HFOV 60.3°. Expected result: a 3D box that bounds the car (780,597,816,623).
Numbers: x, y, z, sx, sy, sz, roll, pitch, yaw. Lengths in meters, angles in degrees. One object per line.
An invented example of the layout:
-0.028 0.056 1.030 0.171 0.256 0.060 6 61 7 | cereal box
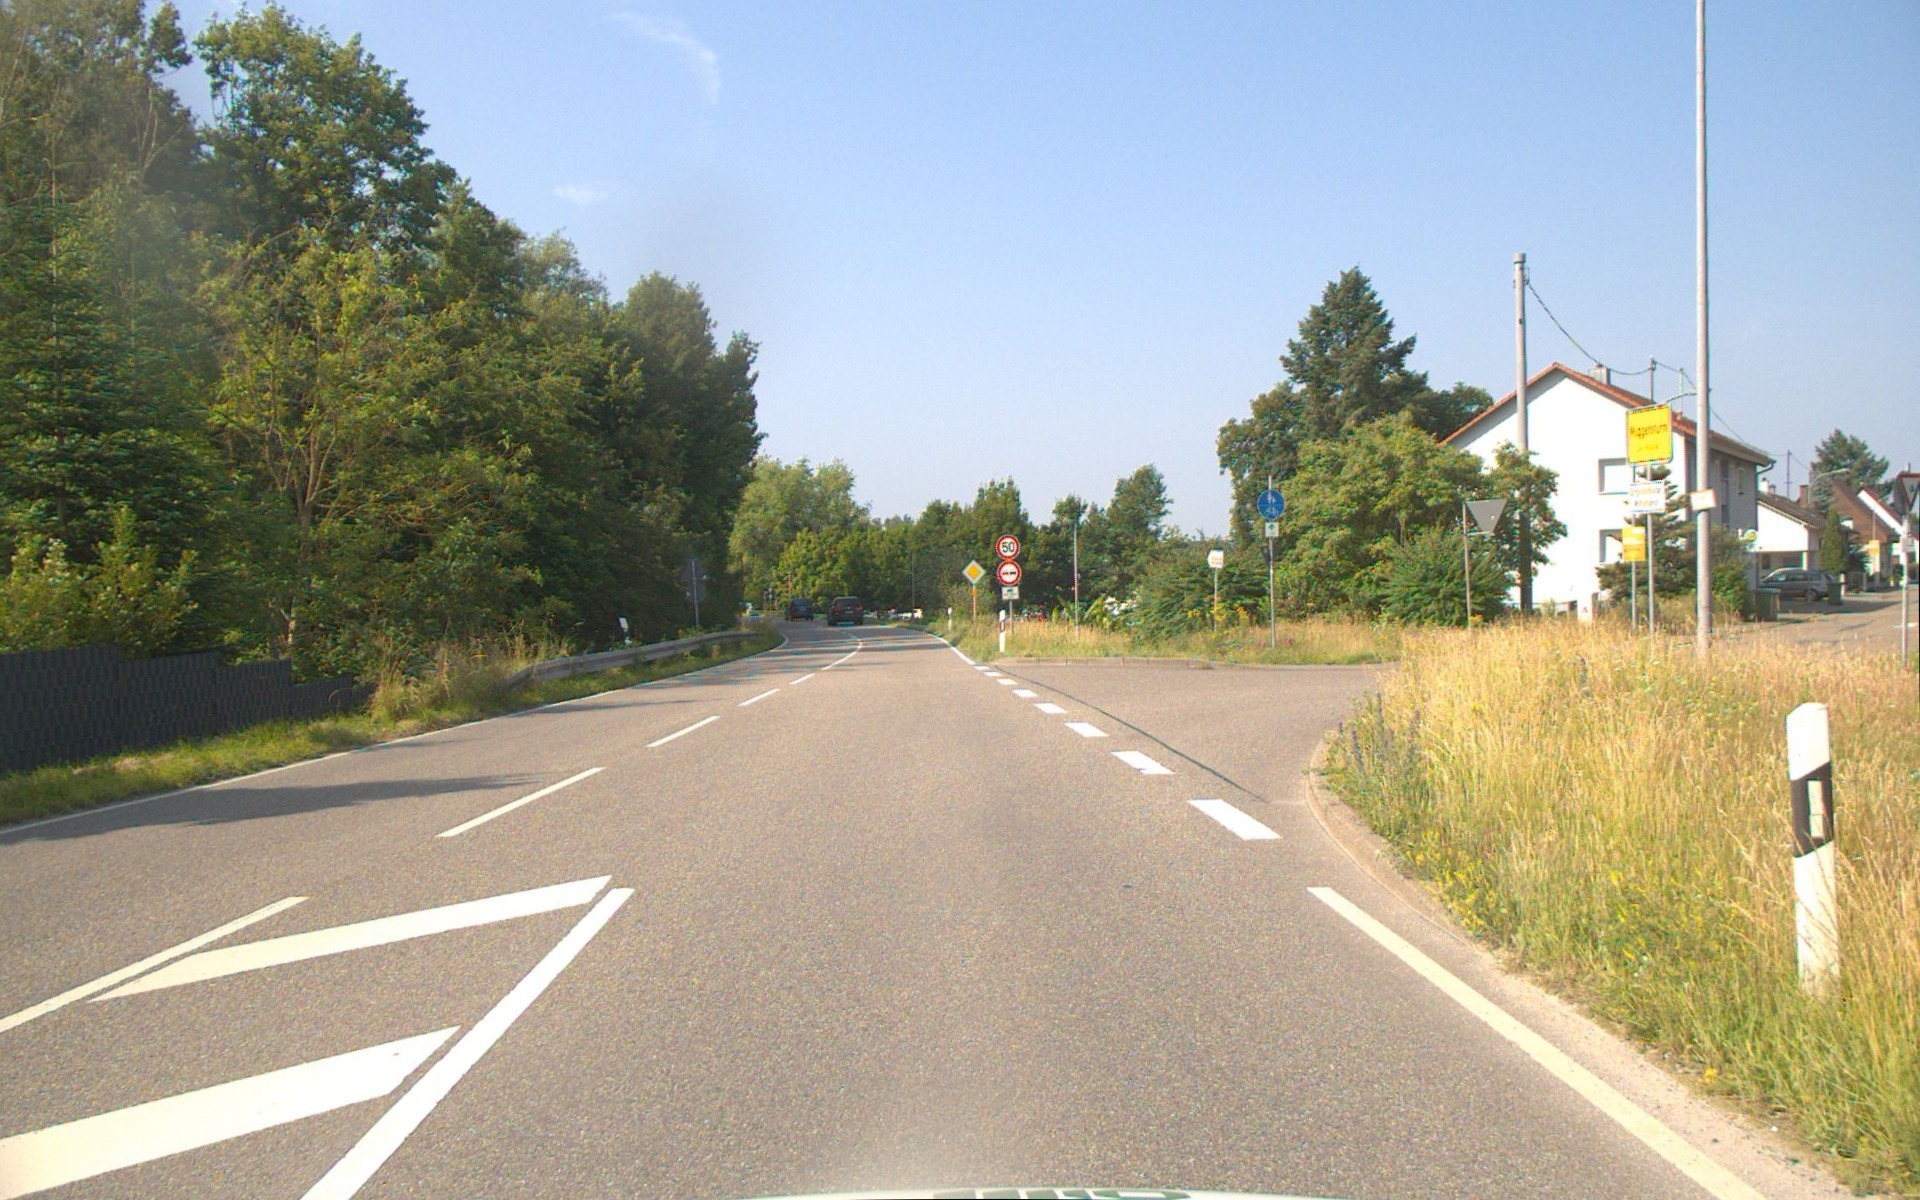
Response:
-12.103 0.735 123.368 1.972 1.802 3.982 -1 1 -16 | car

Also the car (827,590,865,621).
-6.947 0.322 100.568 1.890 1.802 3.991 -1 1 -10 | car

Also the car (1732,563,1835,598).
41.251 -0.978 82.891 4.376 1.728 1.762 0 0 39 | car
